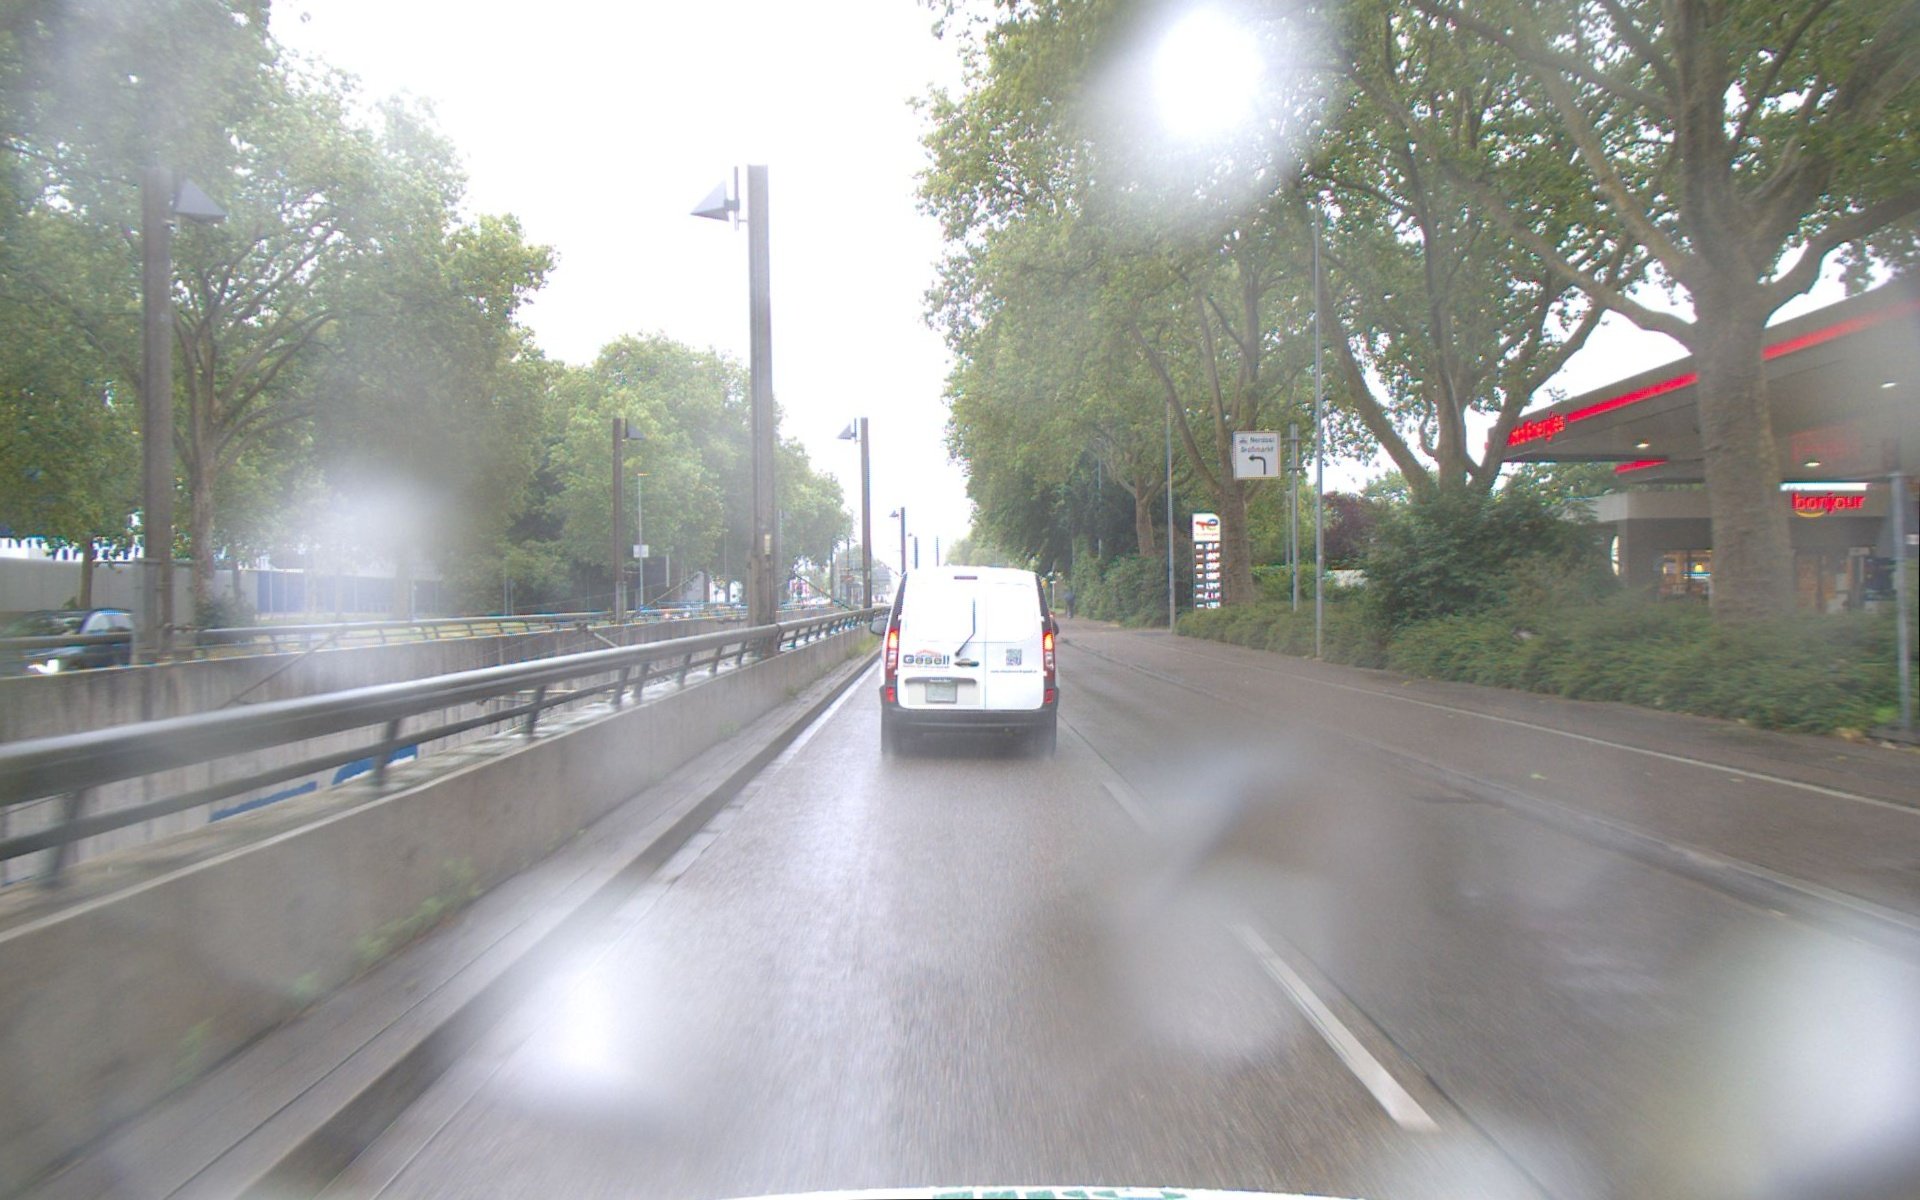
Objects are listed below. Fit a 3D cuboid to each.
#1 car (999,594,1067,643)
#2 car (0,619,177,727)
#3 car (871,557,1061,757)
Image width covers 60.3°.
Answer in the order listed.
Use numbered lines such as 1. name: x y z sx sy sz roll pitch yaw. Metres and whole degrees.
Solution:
1. car: 2.505 0.641 57.505 1.954 1.613 3.997 -2 -1 -3
2. car: -14.973 1.155 27.575 1.868 1.598 4.000 -1 0 1
3. car: 0.022 0.553 17.083 1.720 1.809 3.999 0 -1 -1
